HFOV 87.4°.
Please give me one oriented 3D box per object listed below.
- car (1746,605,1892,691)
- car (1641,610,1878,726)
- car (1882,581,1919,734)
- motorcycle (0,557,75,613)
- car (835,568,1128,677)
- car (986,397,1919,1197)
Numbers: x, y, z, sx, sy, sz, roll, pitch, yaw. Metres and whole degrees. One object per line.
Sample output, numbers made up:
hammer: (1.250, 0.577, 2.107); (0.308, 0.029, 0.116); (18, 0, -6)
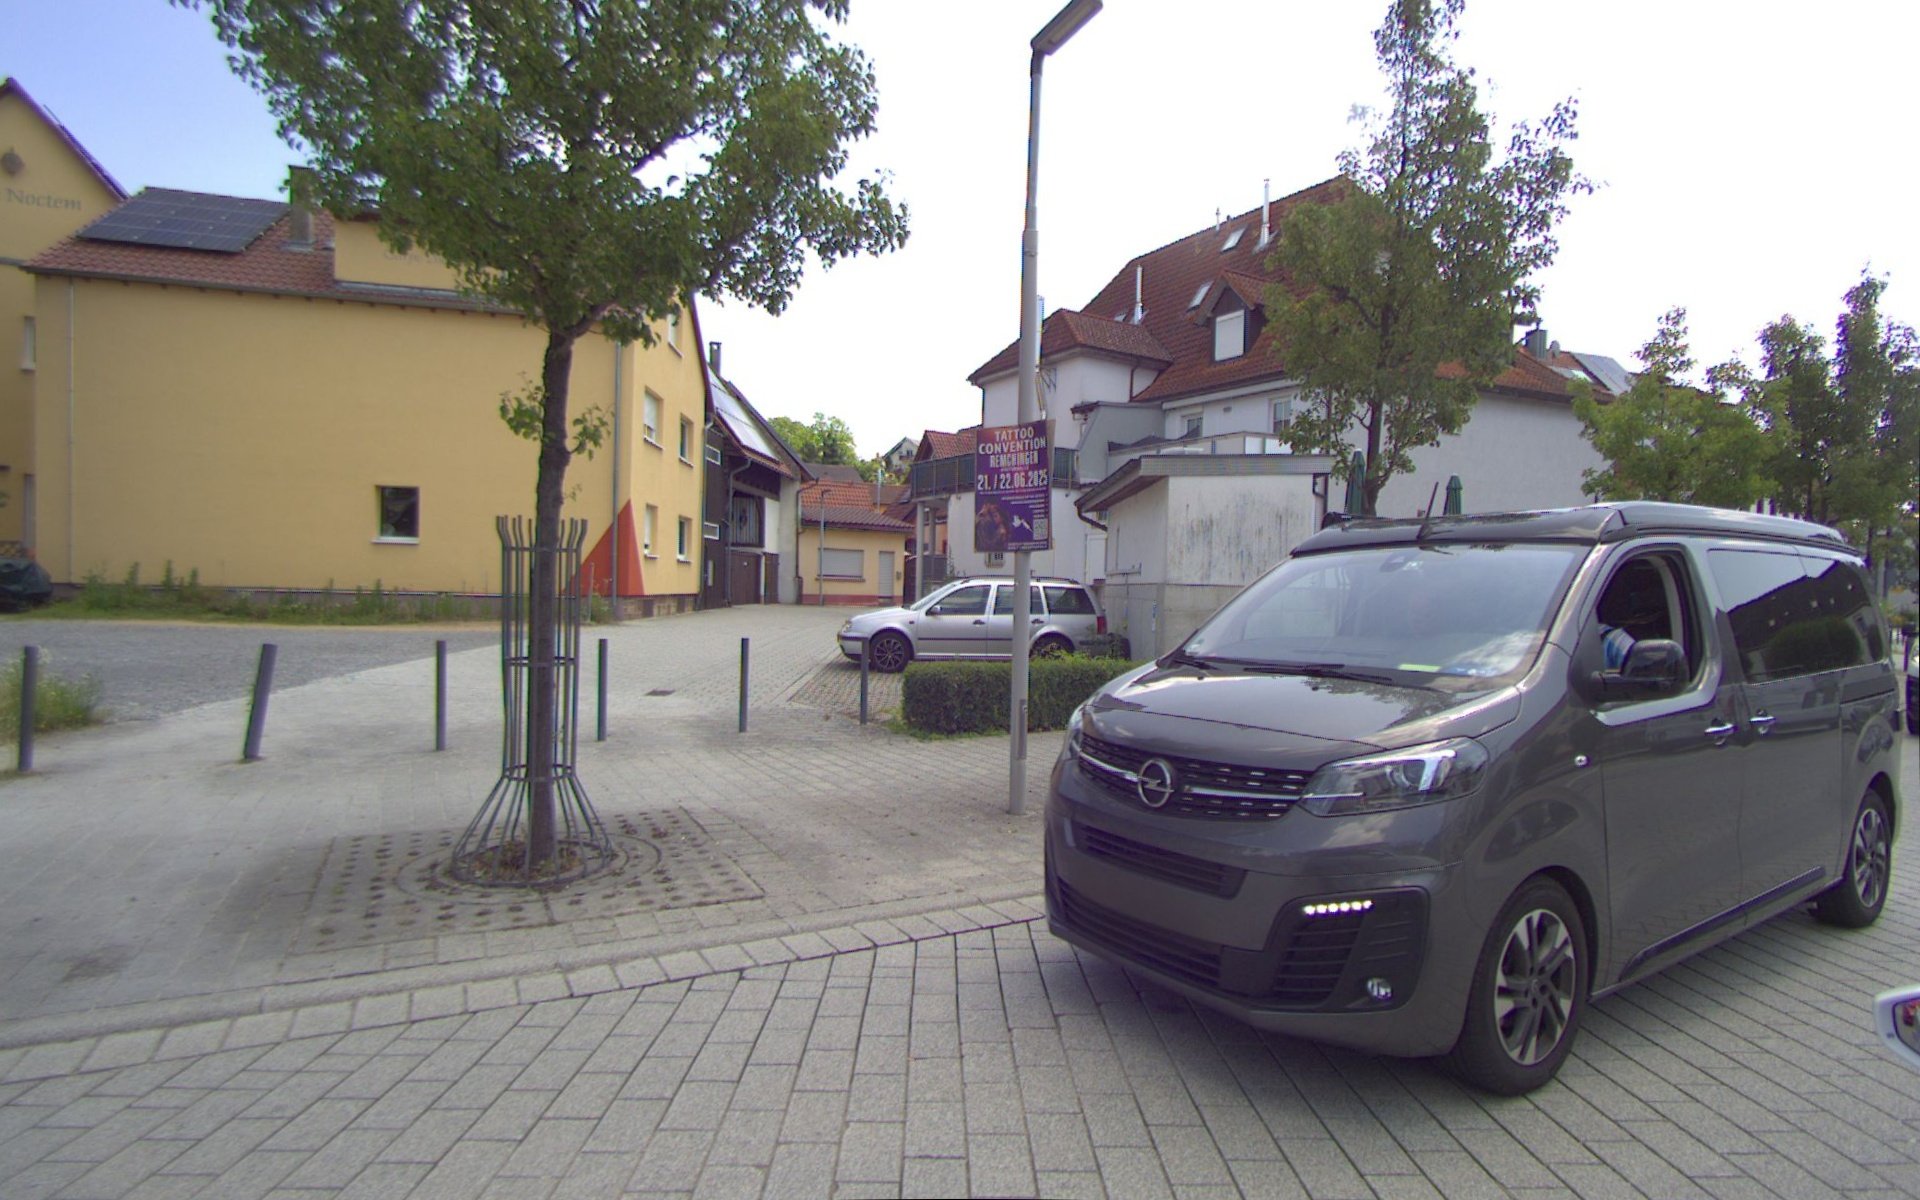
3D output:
car: (17.019, 0.870, 19.846); (3.932, 1.494, 1.653); (0, 1, -42)
car: (12.066, 0.891, 15.054); (4.497, 1.442, 1.802); (0, 1, -38)
car: (14.178, 0.745, 13.475); (4.825, 1.905, 1.977); (0, 1, -39)
motorcycle: (-18.078, -0.287, 18.855); (2.036, 1.034, 0.779); (1, 1, -23)
car: (0.287, 0.319, 15.961); (4.350, 1.516, 1.999); (1, 3, -3)
car: (2.587, 0.510, 4.737); (4.692, 2.040, 1.980); (0, 0, -35)
